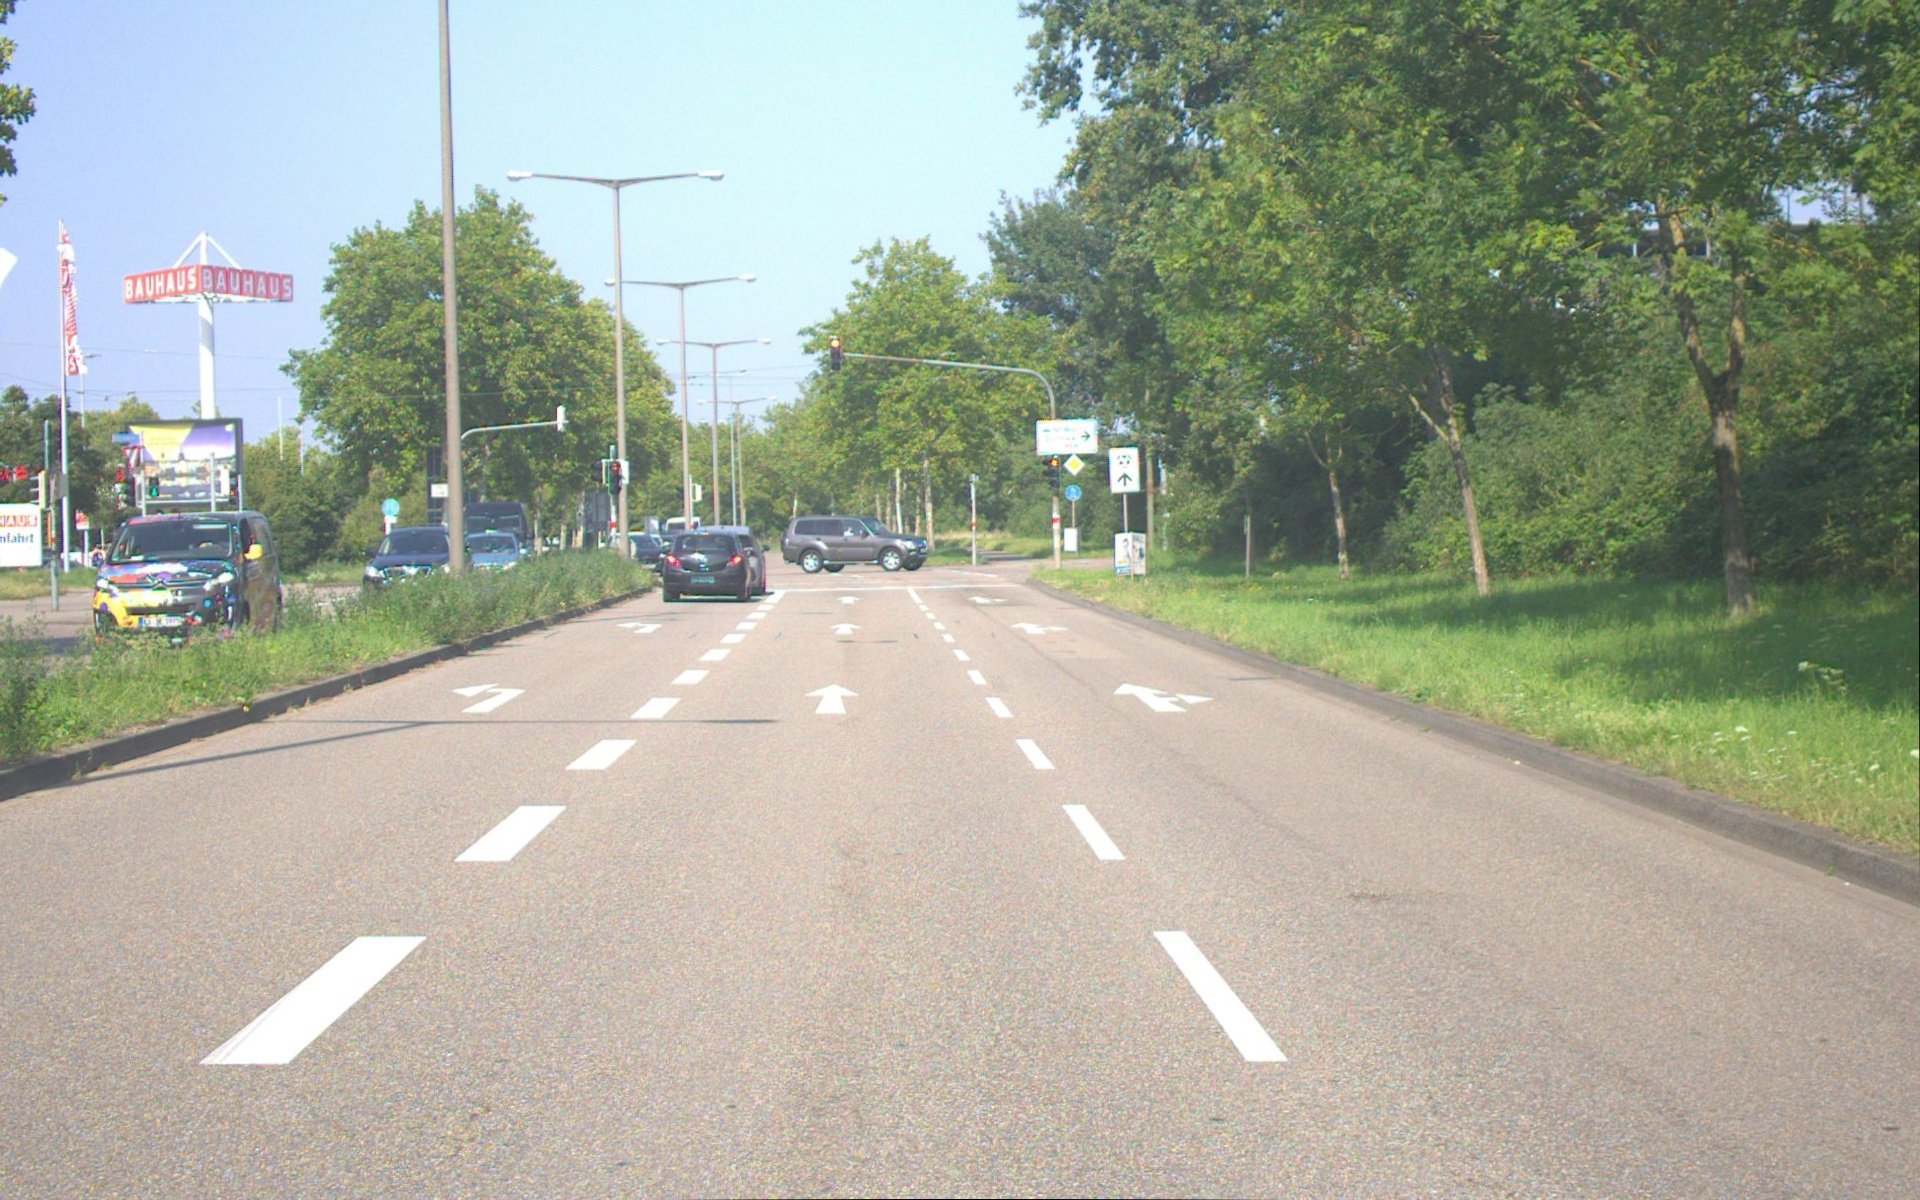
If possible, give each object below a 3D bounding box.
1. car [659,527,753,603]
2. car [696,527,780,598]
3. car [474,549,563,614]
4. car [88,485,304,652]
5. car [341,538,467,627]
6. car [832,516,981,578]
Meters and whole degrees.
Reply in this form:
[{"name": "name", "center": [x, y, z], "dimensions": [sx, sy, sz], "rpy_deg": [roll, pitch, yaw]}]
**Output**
[{"name": "car", "center": [-5.186, -0.736, 70.539], "dimensions": [1.692, 1.480, 4.000], "rpy_deg": [-2, 1, -2]}, {"name": "car", "center": [-4.954, -0.857, 76.972], "dimensions": [1.692, 1.480, 4.000], "rpy_deg": [-2, 1, -2]}, {"name": "car", "center": [-11.019, -0.479, 86.044], "dimensions": [1.773, 1.568, 4.000], "rpy_deg": [0, 1, -1]}, {"name": "car", "center": [-9.944, -0.434, 45.099], "dimensions": [1.931, 2.021, 4.567], "rpy_deg": [-2, 1, -2]}, {"name": "car", "center": [-10.984, -0.380, 68.174], "dimensions": [1.993, 1.700, 4.505], "rpy_deg": [0, 1, -3]}, {"name": "car", "center": [-1.702, -1.687, 108.816], "dimensions": [4.271, 1.829, 1.910], "rpy_deg": [-1, 1, 23]}]
